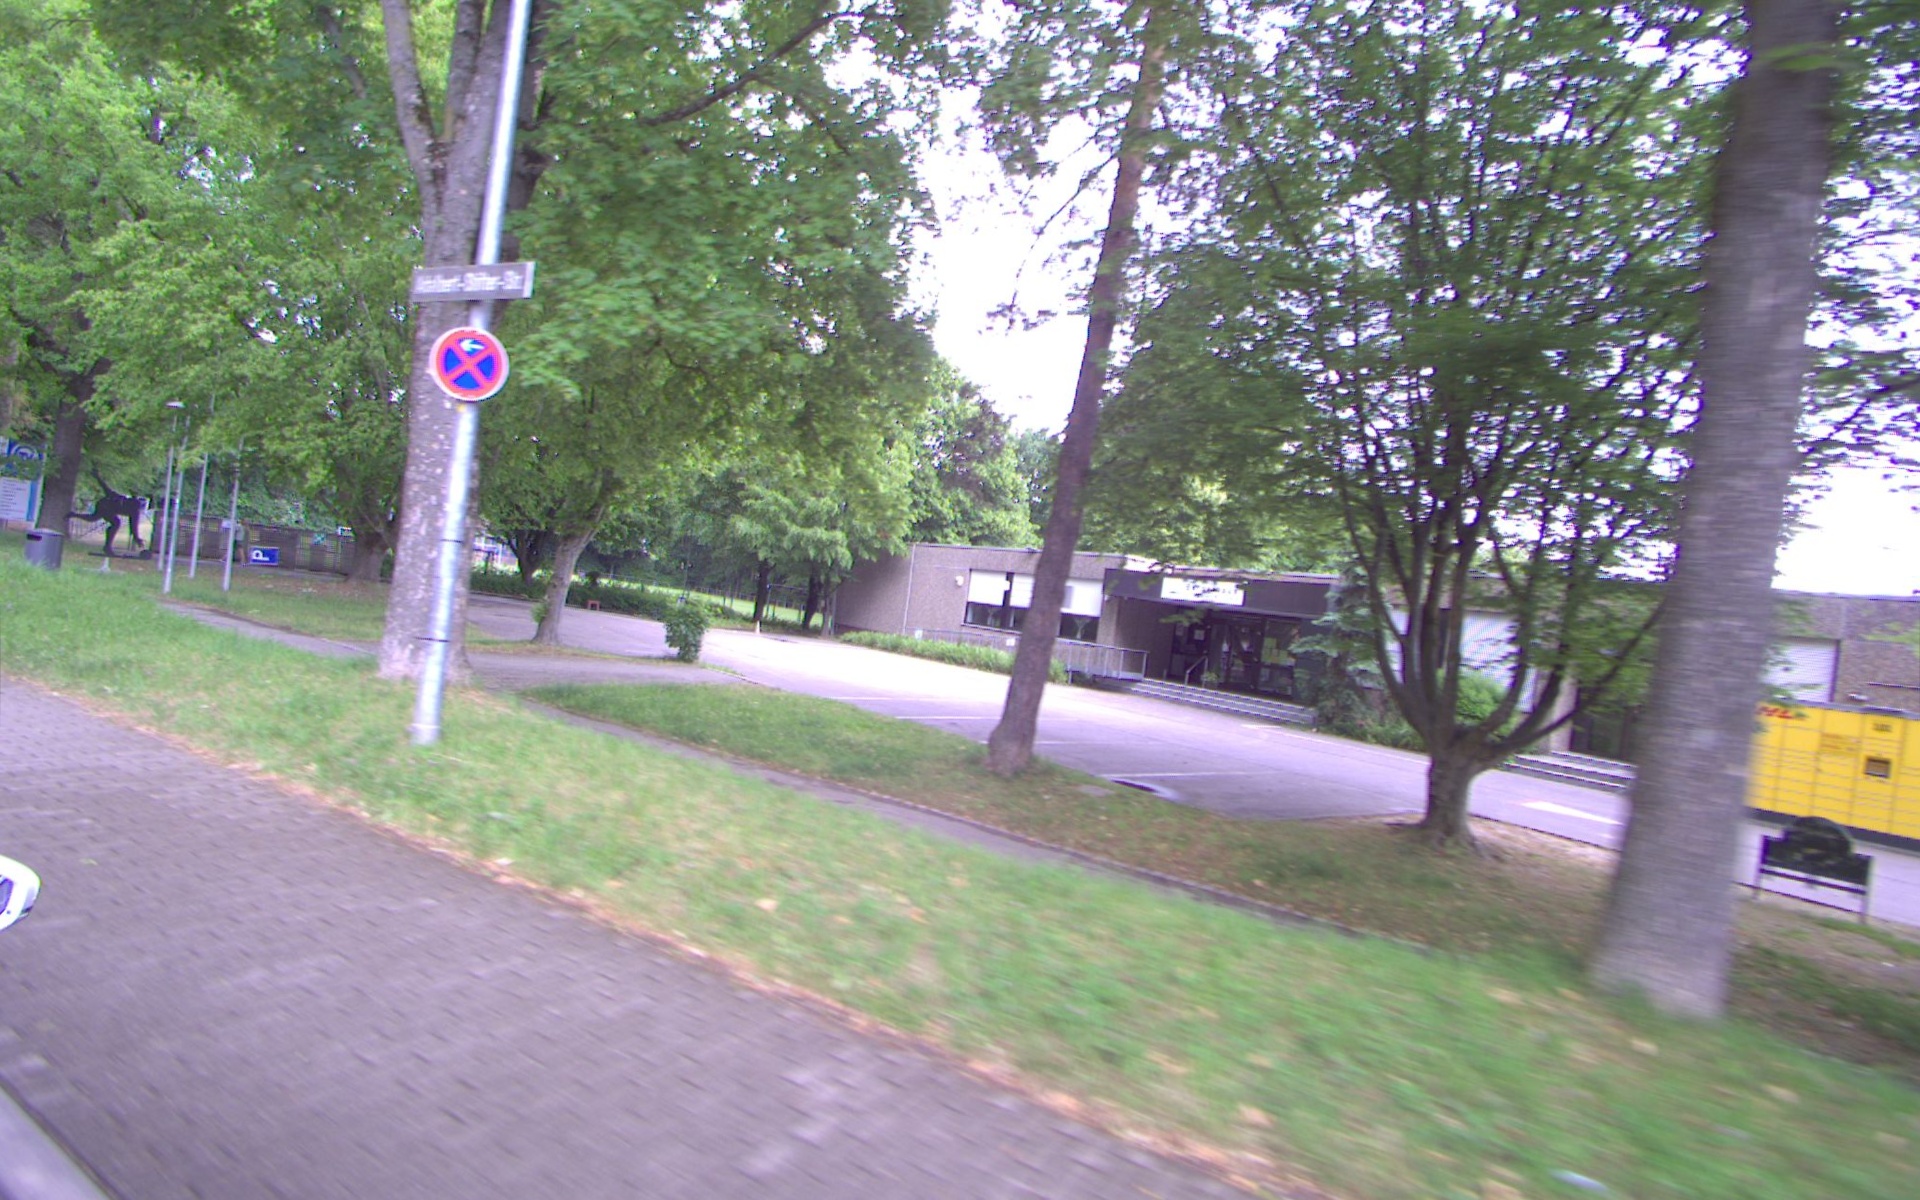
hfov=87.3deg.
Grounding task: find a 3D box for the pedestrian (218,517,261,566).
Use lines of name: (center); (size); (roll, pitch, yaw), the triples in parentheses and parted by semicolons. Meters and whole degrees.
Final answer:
pedestrian: (-27.002, -2.194, 37.712); (1.140, 1.695, 0.786); (6, 0, -34)
